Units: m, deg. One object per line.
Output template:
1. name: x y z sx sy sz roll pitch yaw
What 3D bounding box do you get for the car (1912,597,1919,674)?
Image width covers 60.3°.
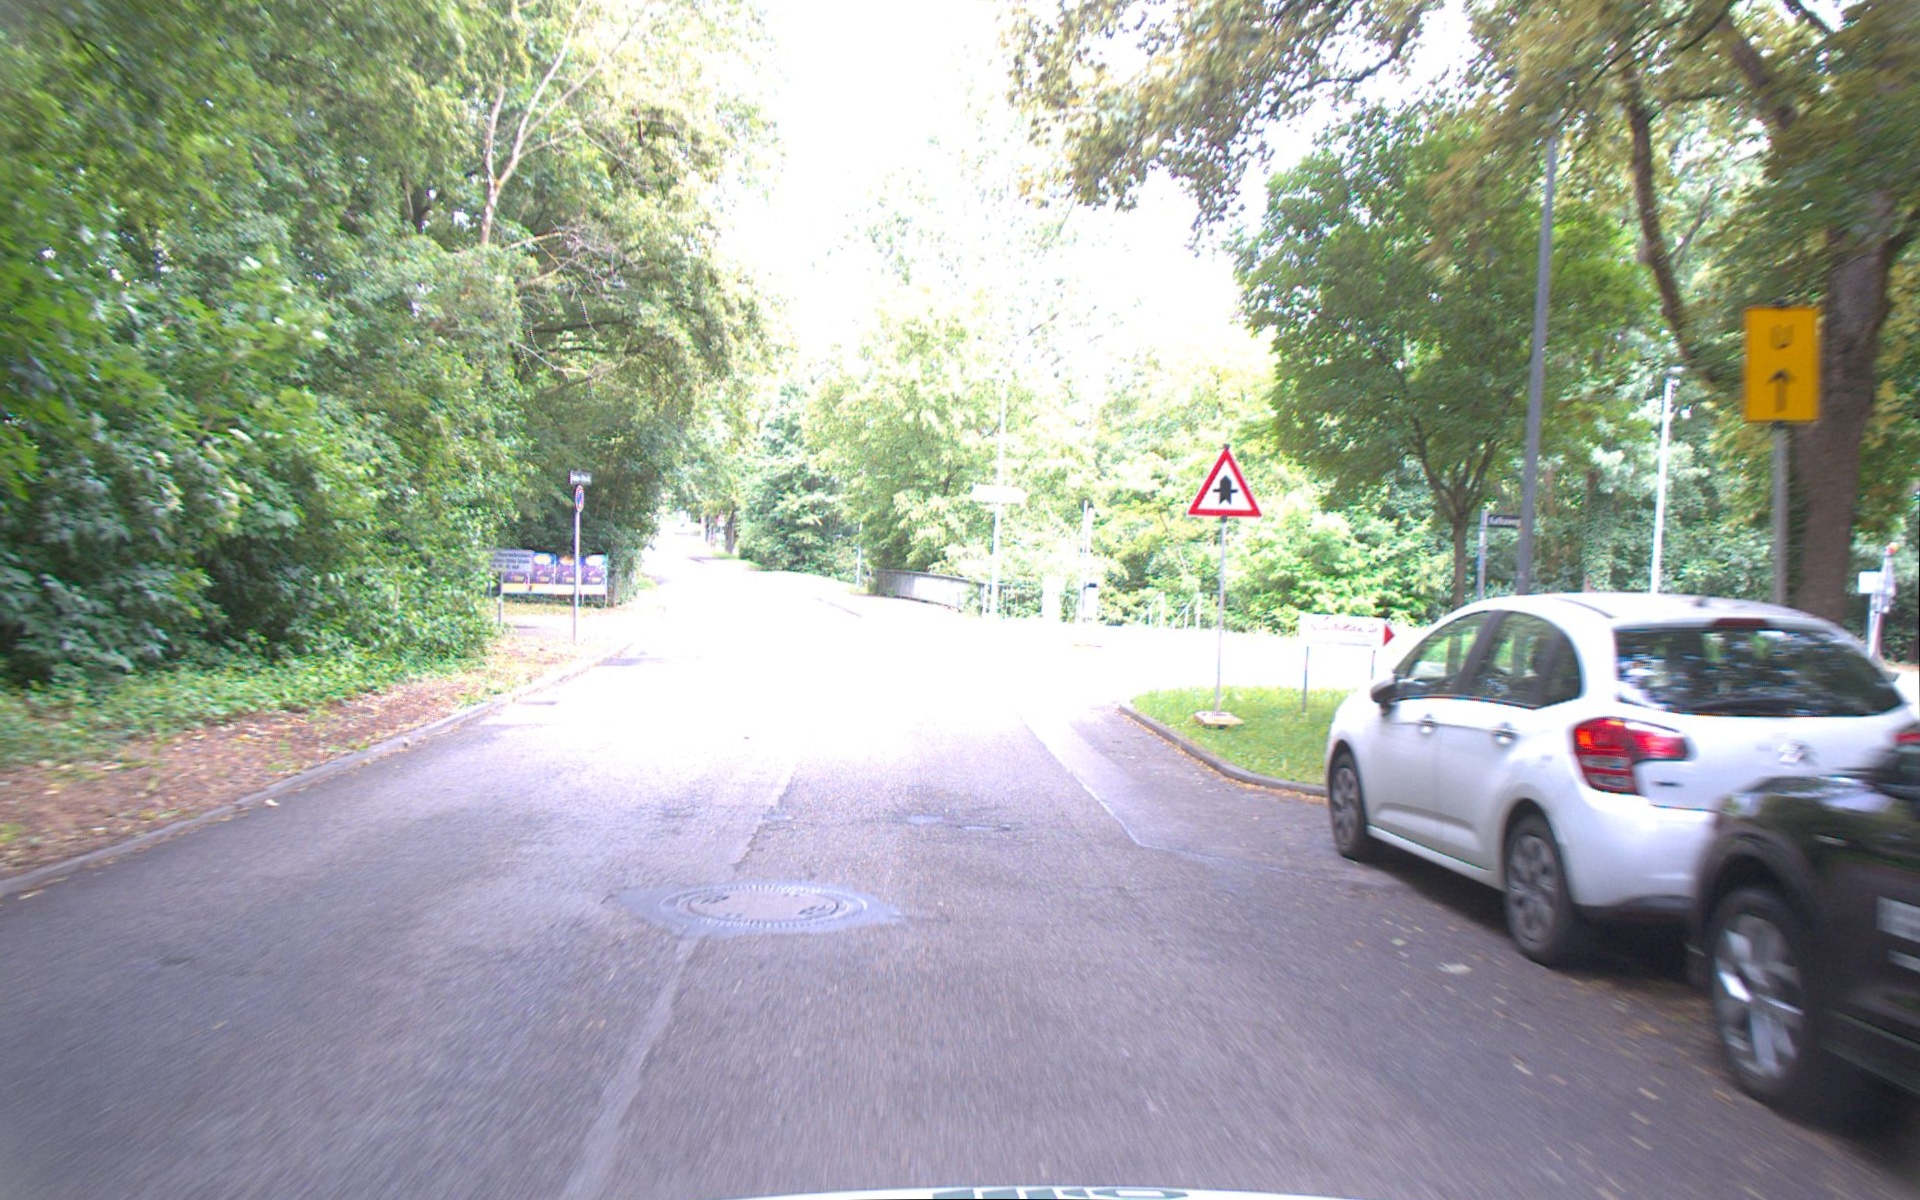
1. car: 27.364 1.042 42.885 4.119 2.048 2.001 3 1 2

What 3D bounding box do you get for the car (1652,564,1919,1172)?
1. car: 3.351 0.729 3.714 1.738 1.549 4.182 3 1 -1

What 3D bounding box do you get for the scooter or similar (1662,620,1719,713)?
1. scooter or similar: 10.926 0.977 24.757 0.277 1.309 1.108 3 1 -1

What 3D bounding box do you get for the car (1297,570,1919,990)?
1. car: 3.118 0.669 8.163 1.740 1.549 3.776 3 1 -6
